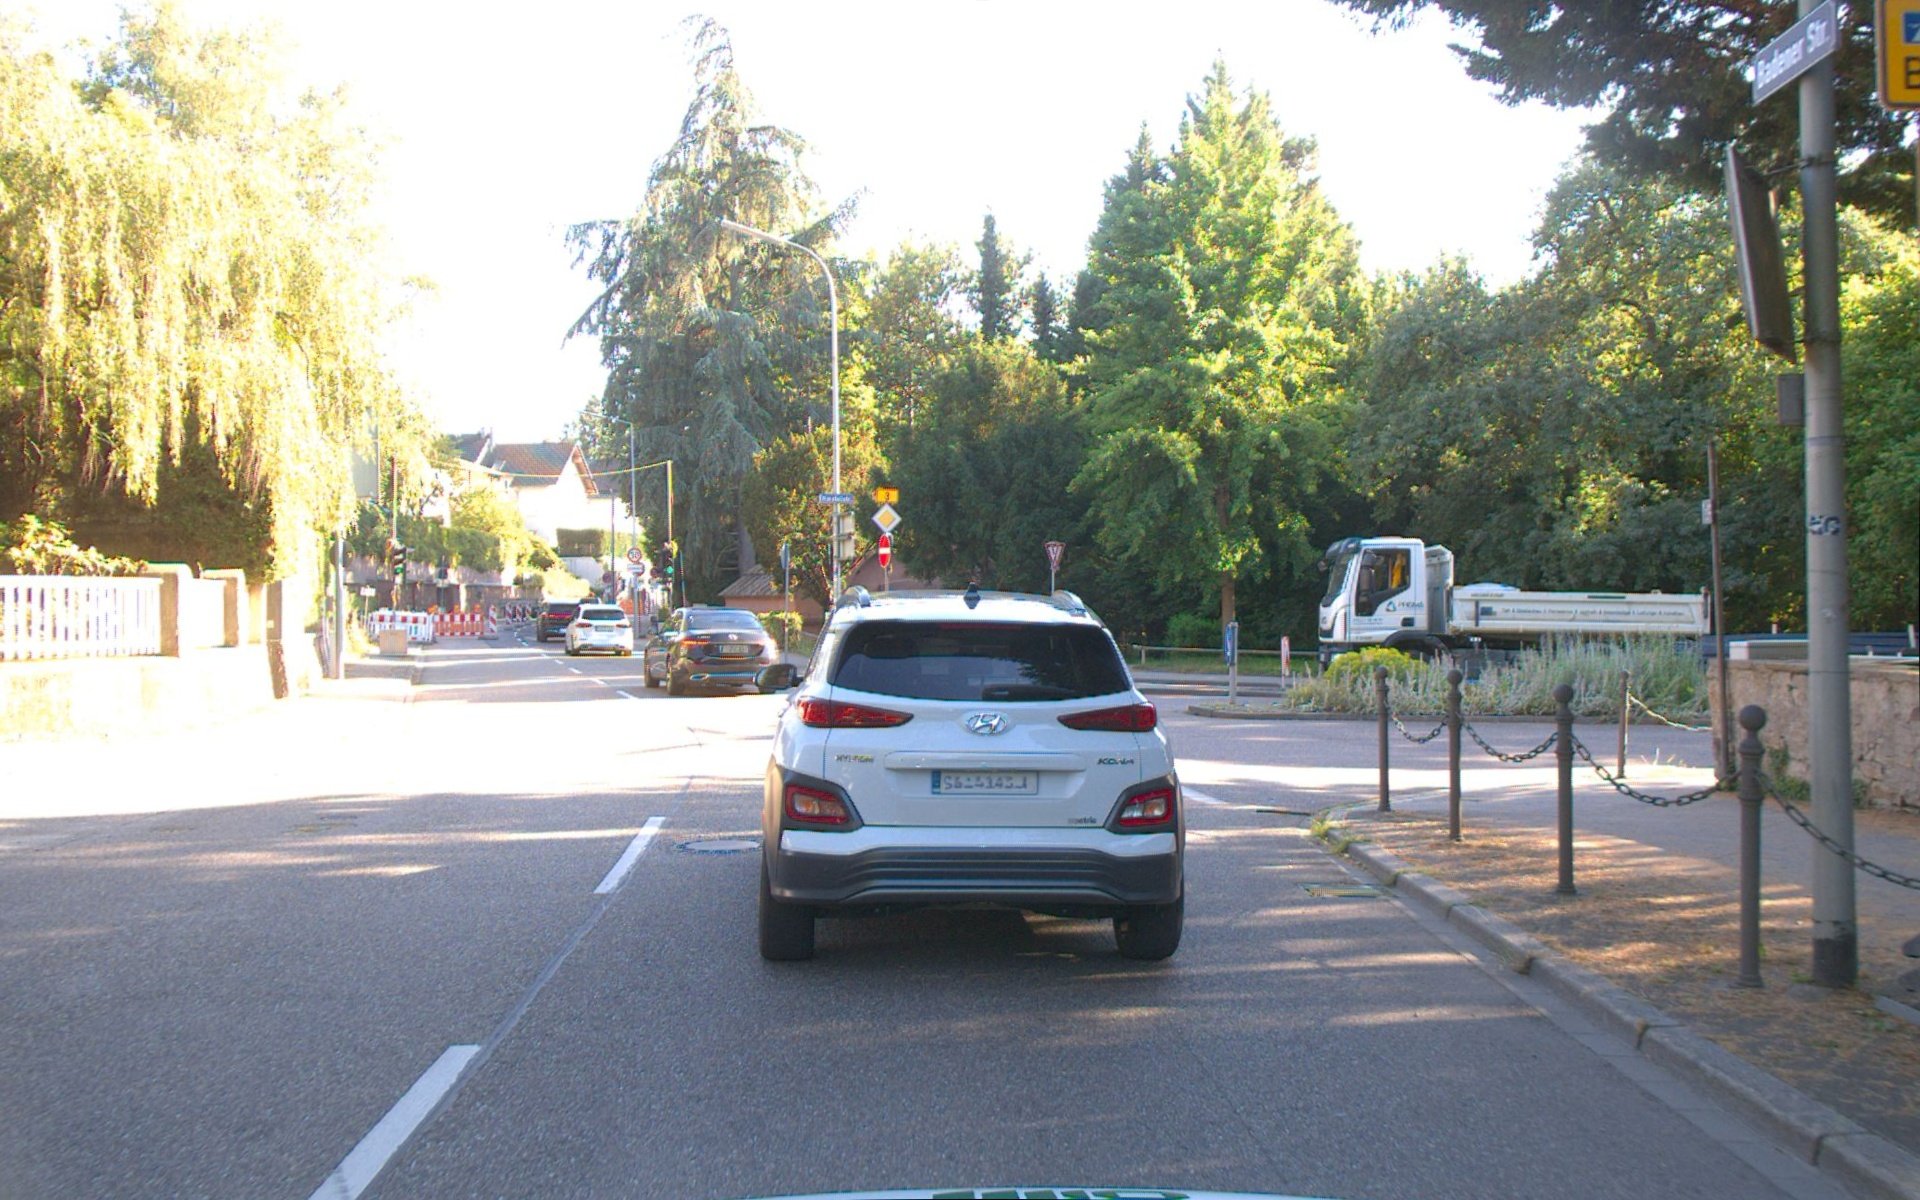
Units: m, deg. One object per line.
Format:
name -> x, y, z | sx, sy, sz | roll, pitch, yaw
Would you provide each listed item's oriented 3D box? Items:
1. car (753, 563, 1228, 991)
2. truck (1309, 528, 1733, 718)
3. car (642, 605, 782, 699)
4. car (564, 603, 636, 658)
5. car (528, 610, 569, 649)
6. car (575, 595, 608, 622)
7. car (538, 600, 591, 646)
car -> -0.034, 0.693, 8.300 | 1.785, 1.601, 3.996 | 2, 0, -5
truck -> 9.446, 0.371, 28.404 | 6.448, 2.945, 2.434 | 1, -1, 5
car -> -4.352, 0.843, 28.559 | 1.681, 1.459, 4.342 | 2, 0, -18
car -> -11.009, 0.902, 50.408 | 1.777, 1.564, 3.981 | 2, 0, -17
car -> -20.115, 1.415, 80.748 | 1.801, 1.771, 3.984 | 2, 0, -15
car -> -24.602, 0.549, 110.453 | 1.797, 1.691, 3.993 | 1, 0, -8
car -> -15.523, 0.875, 64.771 | 1.802, 1.691, 3.982 | 2, 0, -16
